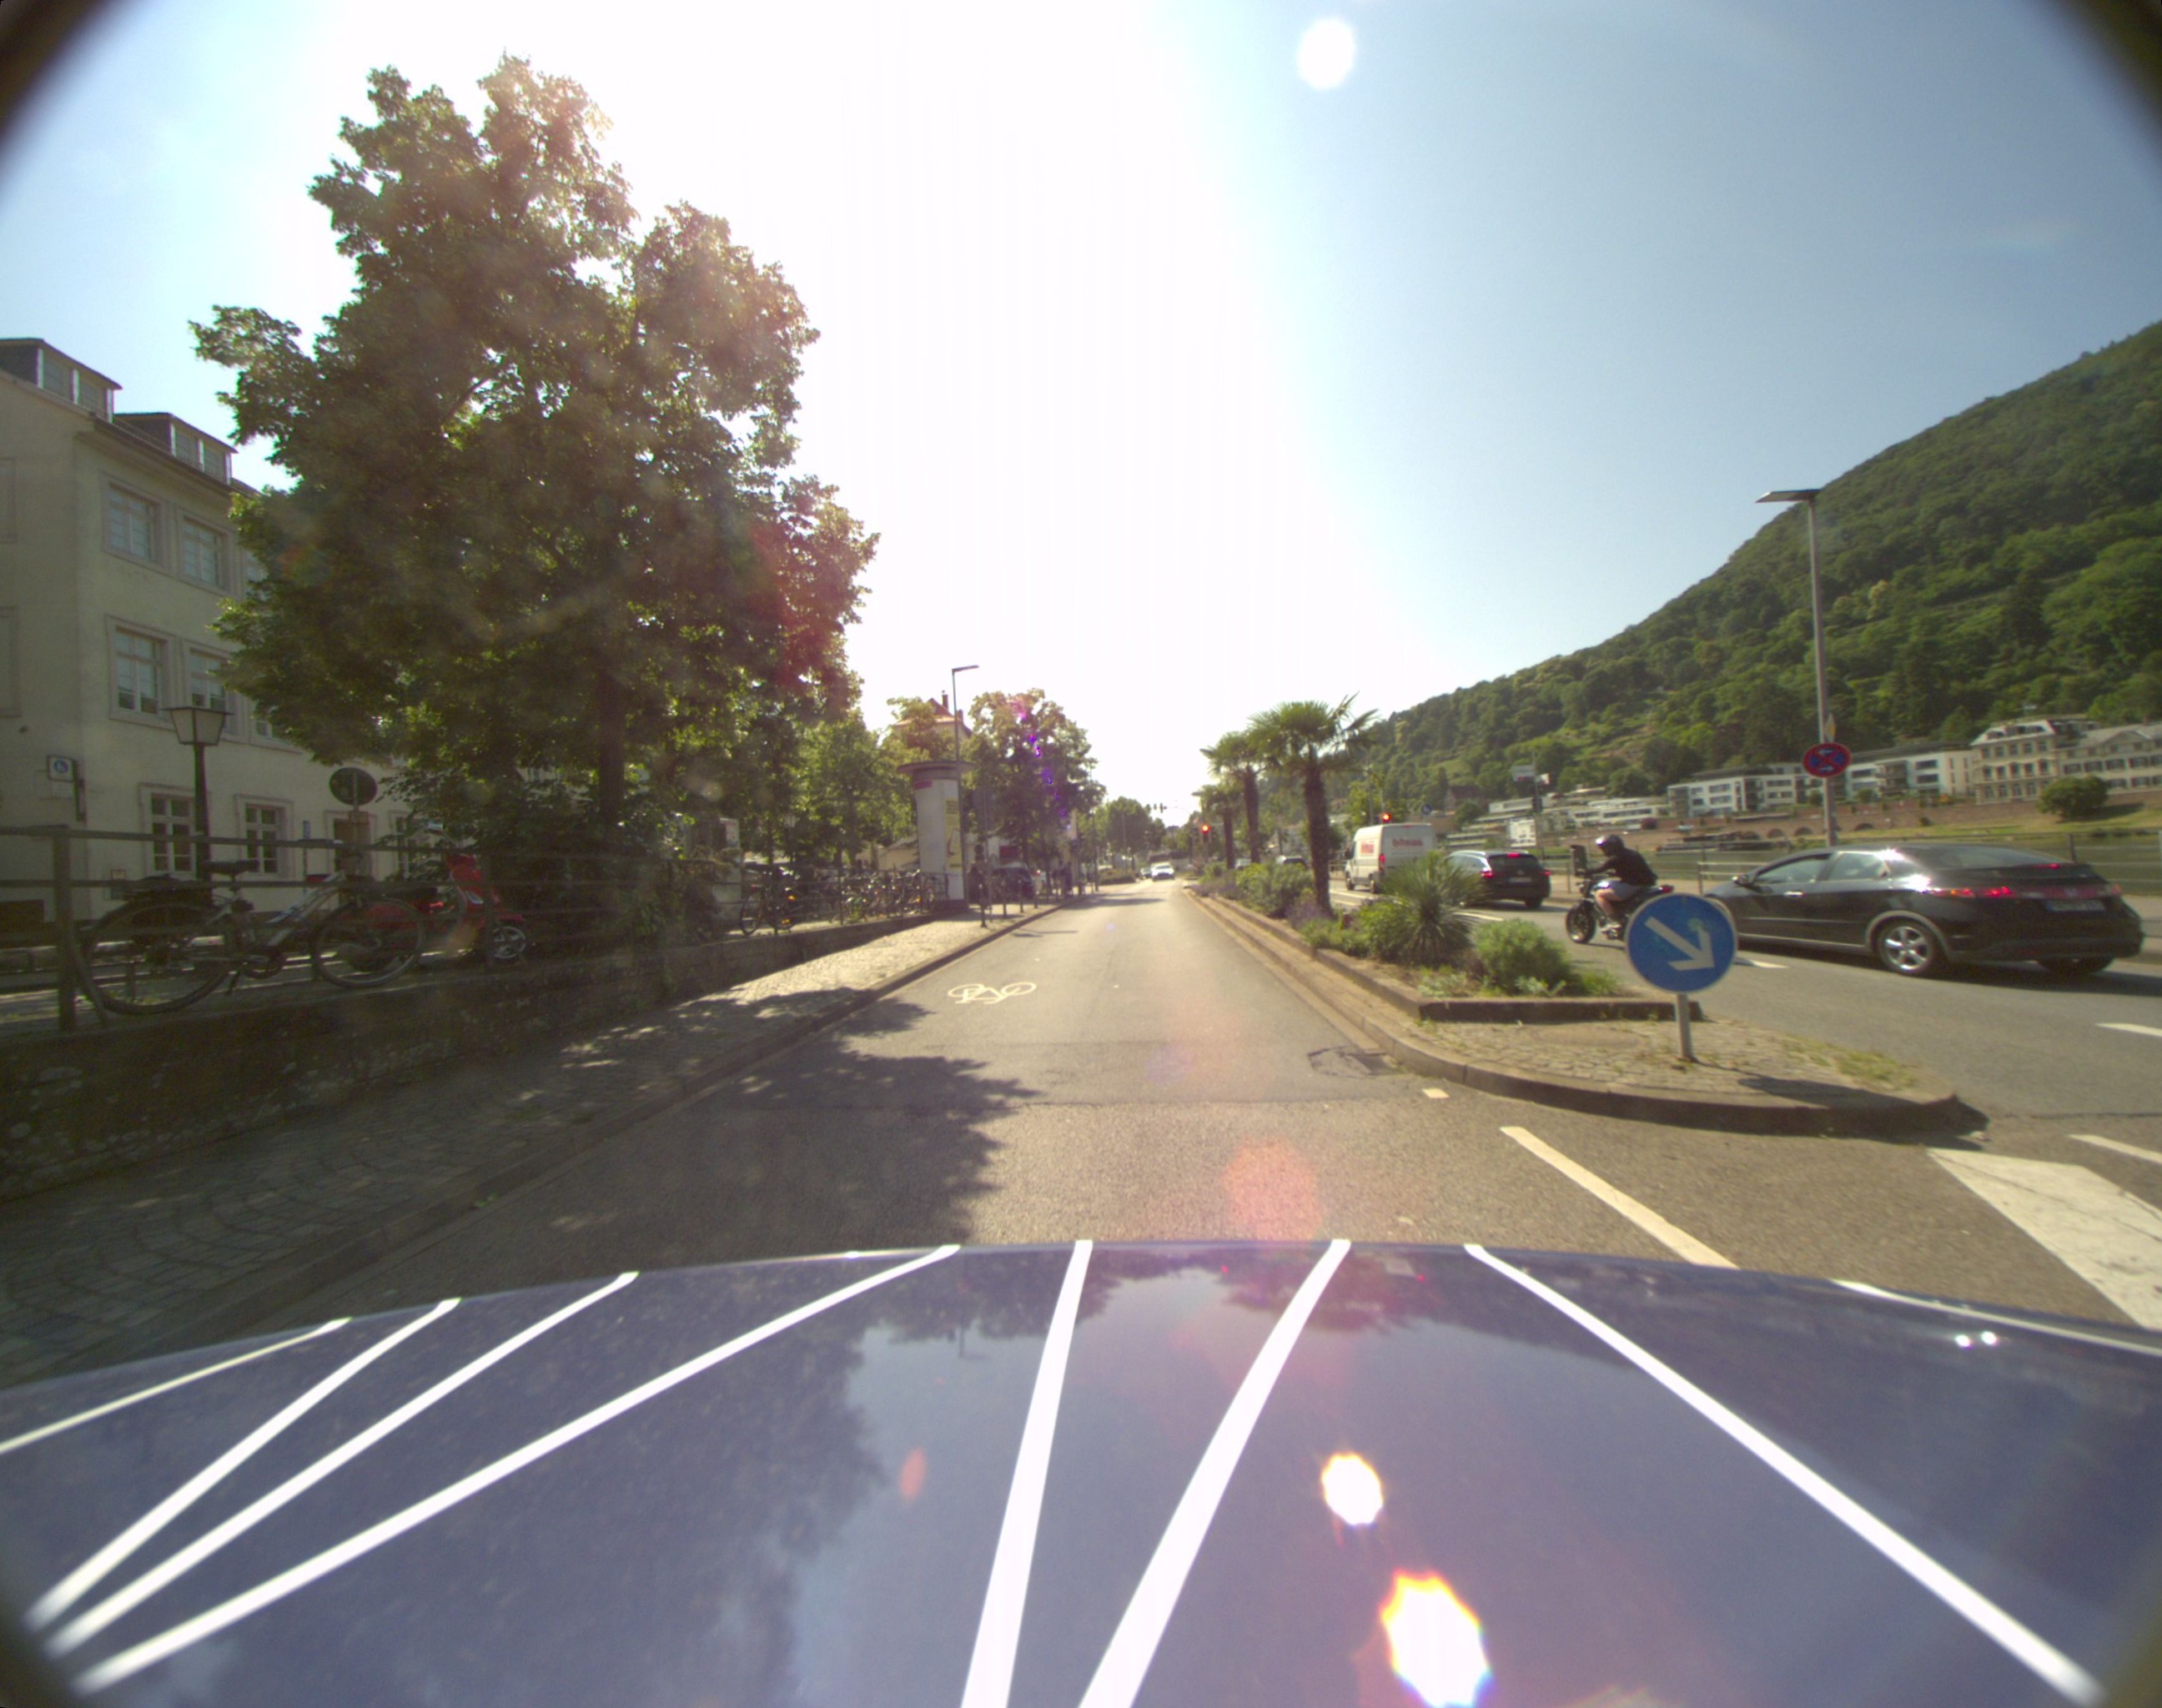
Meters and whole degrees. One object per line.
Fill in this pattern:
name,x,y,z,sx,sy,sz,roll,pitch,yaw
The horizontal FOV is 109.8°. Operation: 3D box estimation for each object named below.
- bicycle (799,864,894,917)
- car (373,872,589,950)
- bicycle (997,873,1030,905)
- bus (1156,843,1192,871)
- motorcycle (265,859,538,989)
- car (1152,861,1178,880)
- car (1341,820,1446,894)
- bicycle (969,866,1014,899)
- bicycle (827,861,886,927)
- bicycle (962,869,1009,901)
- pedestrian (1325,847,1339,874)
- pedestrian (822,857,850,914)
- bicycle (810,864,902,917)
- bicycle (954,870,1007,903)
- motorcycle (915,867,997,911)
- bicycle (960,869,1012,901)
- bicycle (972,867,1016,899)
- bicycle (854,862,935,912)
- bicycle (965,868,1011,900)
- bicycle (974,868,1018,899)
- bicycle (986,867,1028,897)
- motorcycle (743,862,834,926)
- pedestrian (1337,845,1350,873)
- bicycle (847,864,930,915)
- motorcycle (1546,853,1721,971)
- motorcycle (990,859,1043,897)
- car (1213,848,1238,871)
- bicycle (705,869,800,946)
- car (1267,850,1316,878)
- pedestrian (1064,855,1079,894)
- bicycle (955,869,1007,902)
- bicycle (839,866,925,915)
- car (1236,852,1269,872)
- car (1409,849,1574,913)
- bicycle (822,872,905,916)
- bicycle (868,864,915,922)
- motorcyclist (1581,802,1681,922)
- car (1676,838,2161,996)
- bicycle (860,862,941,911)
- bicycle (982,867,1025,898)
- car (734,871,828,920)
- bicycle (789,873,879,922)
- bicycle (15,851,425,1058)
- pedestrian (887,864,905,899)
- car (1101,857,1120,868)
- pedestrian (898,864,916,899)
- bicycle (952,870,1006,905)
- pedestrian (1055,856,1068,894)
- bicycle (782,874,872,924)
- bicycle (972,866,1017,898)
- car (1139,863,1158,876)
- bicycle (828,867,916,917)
bicycle,-5.743,0.890,18.624,2.160,1.254,0.477,-1,0,4
car,-16.024,1.461,20.701,1.836,1.789,4.739,-3,-2,4
bicycle,-2.362,1.216,26.845,0.539,1.002,1.756,-3,0,15
bus,12.249,0.421,101.324,2.656,3.368,10.791,-3,0,-4
motorcycle,-6.297,0.626,7.116,1.920,1.092,0.575,-2,1,-4
car,7.114,1.373,64.415,1.998,1.497,4.594,-3,-1,6
car,11.461,0.115,28.285,2.199,2.511,4.750,-1,0,4
bicycle,-3.329,1.062,28.296,1.631,1.210,0.413,-1,0,0
bicycle,-4.619,0.776,15.752,0.476,1.254,2.163,-1,0,2
bicycle,-3.434,1.110,27.436,1.631,1.126,0.413,-1,0,0
pedestrian,16.299,0.415,49.389,0.593,1.741,0.781,-3,0,2
pedestrian,-7.682,0.976,23.820,0.541,1.734,0.502,-5,0,6
bicycle,-5.648,0.911,19.083,2.160,1.254,0.421,-1,0,4
bicycle,-3.470,1.122,26.284,1.753,1.126,0.464,-1,0,0
motorcycle,-3.962,1.105,23.973,2.531,1.267,0.725,-3,0,27
bicycle,-3.386,1.104,27.129,1.753,1.126,0.464,-1,0,0
bicycle,-3.319,1.111,29.152,1.631,1.210,0.413,-1,0,0
bicycle,-5.250,0.927,21.433,2.160,1.360,0.477,-1,0,4
bicycle,-3.410,1.106,27.868,1.631,1.126,0.413,-1,0,0
bicycle,-3.284,1.134,29.455,1.631,1.163,0.350,-1,0,0
bicycle,-2.962,1.137,30.401,1.629,1.163,0.367,-2,0,22
motorcycle,-6.380,0.853,16.528,2.156,1.305,0.650,-1,0,33
pedestrian,17.084,0.335,49.467,0.593,1.741,0.503,-3,0,2
bicycle,-5.294,0.970,20.928,2.160,1.360,0.477,-1,0,4
motorcycle,7.411,0.700,10.389,0.728,1.379,2.512,-3,0,6
motorcycle,-2.687,1.017,31.661,2.196,1.519,0.800,-3,0,40
car,14.153,0.528,74.825,1.869,2.137,5.025,-3,0,6
bicycle,-4.899,0.753,11.484,0.301,1.042,2.164,-1,-1,5
car,12.745,0.579,46.199,1.998,1.444,4.262,-4,0,4
pedestrian,-0.438,0.952,34.841,0.541,1.767,0.583,-2,0,9
bicycle,-3.499,1.113,26.692,1.753,1.126,0.464,-1,0,0
bicycle,-5.331,0.983,20.399,2.160,1.254,0.477,-1,0,4
car,13.670,0.630,60.679,1.998,1.449,4.645,-3,0,6
car,10.615,0.633,20.152,1.998,1.410,4.922,-3,0,5
bicycle,-5.558,1.025,19.474,2.028,1.086,0.338,-1,0,4
bicycle,-4.449,0.880,18.006,0.476,1.254,2.163,-1,0,2
motorcyclist,7.361,0.109,10.216,0.703,1.518,0.861,-3,0,6
car,9.520,0.588,9.232,1.660,1.428,4.082,-3,0,6
bicycle,-5.204,0.926,21.974,2.160,1.360,0.584,-1,0,4
bicycle,-3.077,1.127,30.115,1.629,1.163,0.425,-2,0,22
car,-12.880,1.768,32.909,1.838,1.780,4.464,-7,-2,4
bicycle,-5.872,1.029,18.115,1.966,1.105,0.477,-1,0,4
bicycle,-5.487,0.573,5.060,0.345,1.105,1.921,-3,-2,8
pedestrian,-8.011,1.188,32.891,0.493,1.451,0.580,-3,0,9
car,4.980,1.424,129.279,2.000,1.750,4.586,-3,1,-12
pedestrian,-7.524,1.189,32.902,0.493,1.499,0.667,-3,0,4
bicycle,-3.443,1.121,25.718,1.753,1.126,0.540,-1,0,-3
pedestrian,-0.905,0.974,35.368,0.541,1.767,0.582,-2,0,2
bicycle,-5.894,1.033,17.646,1.954,1.094,0.423,-1,0,4
bicycle,-3.278,1.055,28.714,1.631,1.210,0.413,-1,0,0
car,7.949,1.813,89.702,1.998,1.497,4.592,-1,0,2
bicycle,-5.468,0.986,19.901,2.160,1.254,0.477,-1,0,4
